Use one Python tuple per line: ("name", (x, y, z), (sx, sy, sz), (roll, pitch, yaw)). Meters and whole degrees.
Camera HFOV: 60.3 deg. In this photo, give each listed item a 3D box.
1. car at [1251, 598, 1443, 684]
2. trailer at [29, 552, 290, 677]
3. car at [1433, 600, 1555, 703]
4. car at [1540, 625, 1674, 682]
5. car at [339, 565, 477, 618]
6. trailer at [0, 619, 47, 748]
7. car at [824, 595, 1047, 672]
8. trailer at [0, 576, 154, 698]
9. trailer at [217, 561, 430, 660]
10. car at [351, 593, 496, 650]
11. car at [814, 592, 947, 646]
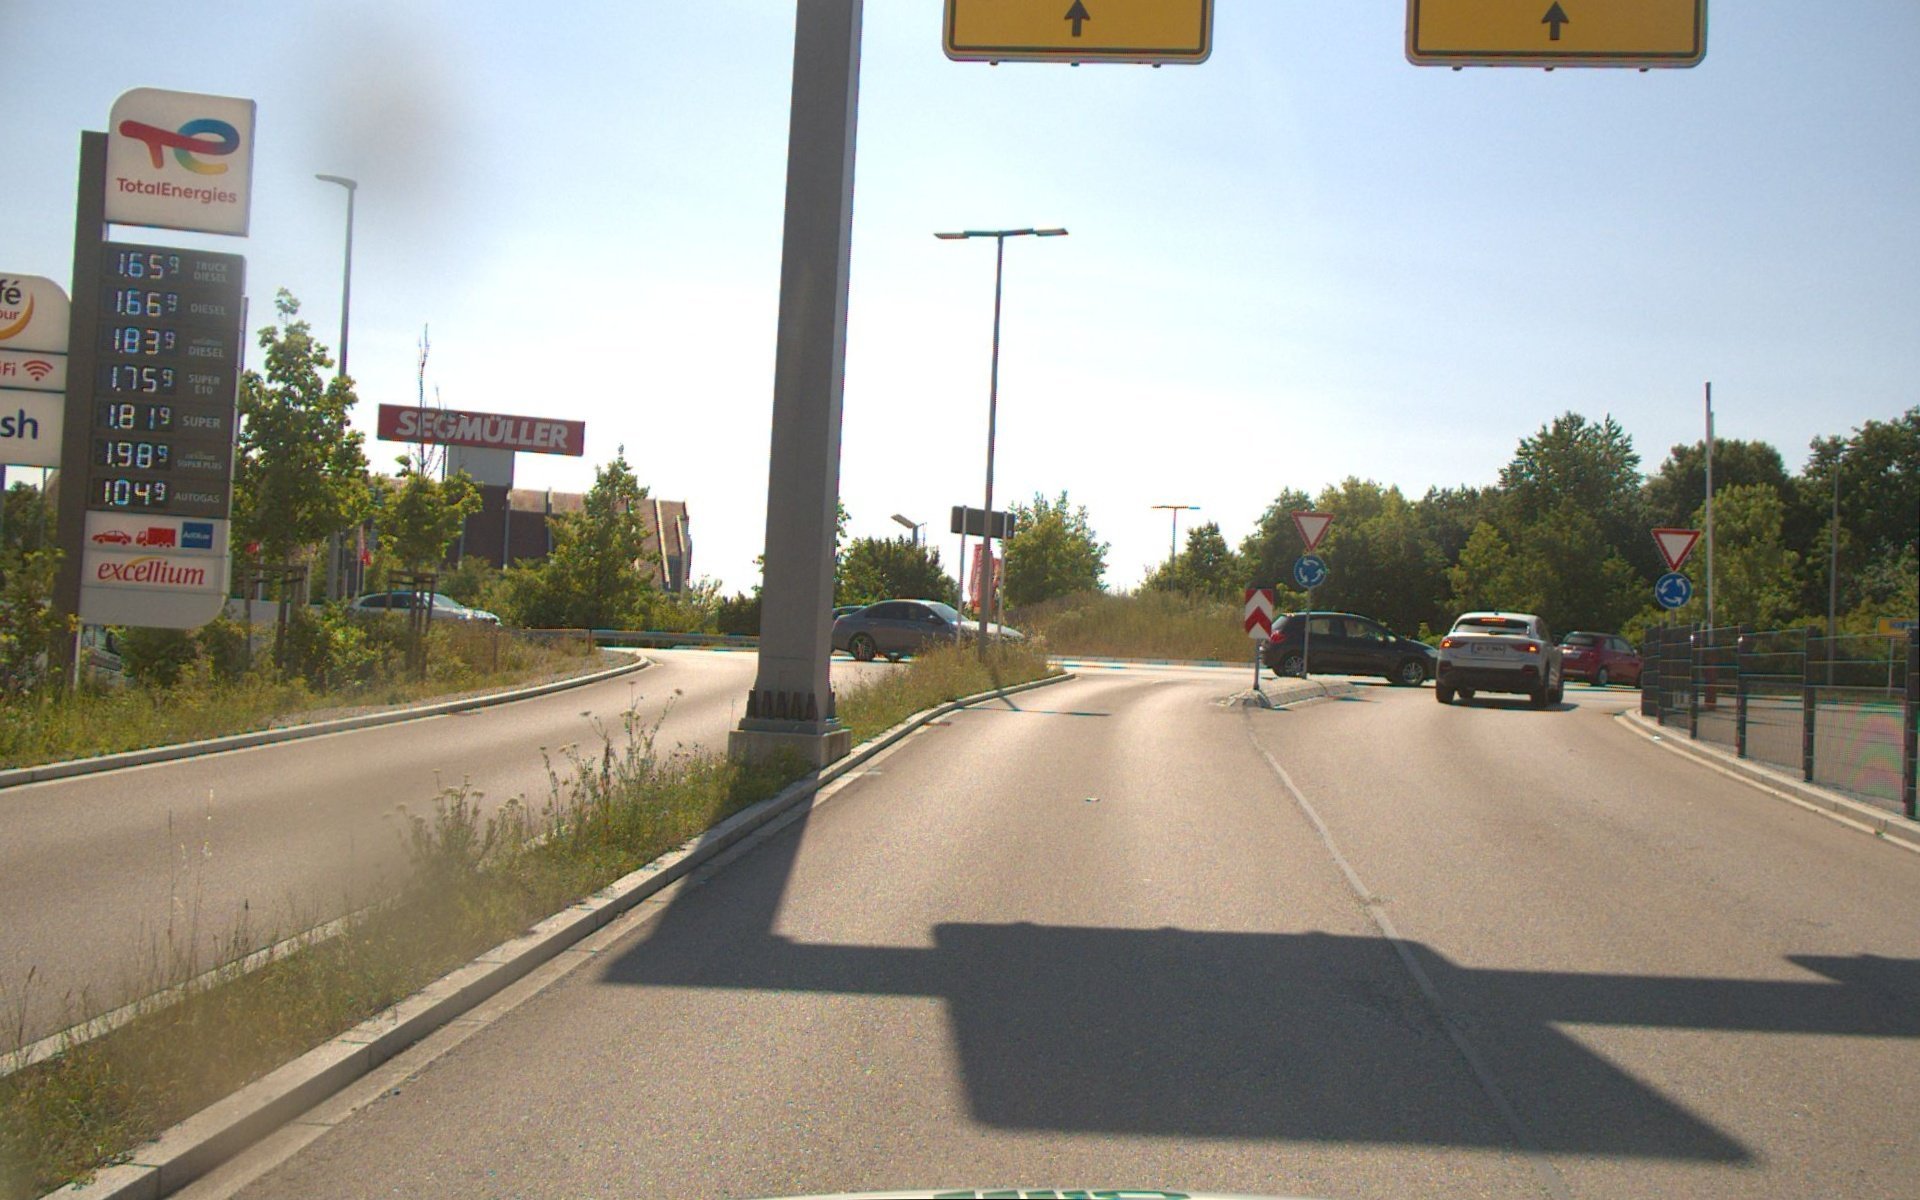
("car", (8.617, 0.905, 37.071), (3.867, 1.646, 1.819), (3, -1, 3))
("trailer", (-13.083, 0.245, 27.117), (3.643, 1.803, 1.791), (4, -1, -29))
("car", (9.527, 0.895, 29.310), (1.803, 1.624, 4.324), (2, -1, 21))
("car", (18.579, 1.533, 47.447), (3.767, 1.429, 1.609), (4, -1, -32))
("car", (-18.659, -0.268, 55.951), (4.221, 1.557, 1.777), (3, -1, -26))
("trailer", (-11.687, 0.832, 17.820), (2.850, 1.345, 1.386), (3, -1, -10))
("car", (-0.573, 0.775, 38.499), (4.761, 1.477, 1.999), (3, -1, 24))
("trailer", (-13.318, 0.424, 22.975), (3.644, 1.476, 1.692), (7, -2, -28))
("trailer", (-12.302, 0.206, 31.985), (3.643, 1.803, 1.791), (1, 0, -29))
("car", (-15.171, 0.594, 46.690), (4.252, 1.375, 1.568), (3, -1, 34))
("car", (-2.347, 0.554, 48.500), (3.691, 1.375, 1.527), (3, -1, 33))
